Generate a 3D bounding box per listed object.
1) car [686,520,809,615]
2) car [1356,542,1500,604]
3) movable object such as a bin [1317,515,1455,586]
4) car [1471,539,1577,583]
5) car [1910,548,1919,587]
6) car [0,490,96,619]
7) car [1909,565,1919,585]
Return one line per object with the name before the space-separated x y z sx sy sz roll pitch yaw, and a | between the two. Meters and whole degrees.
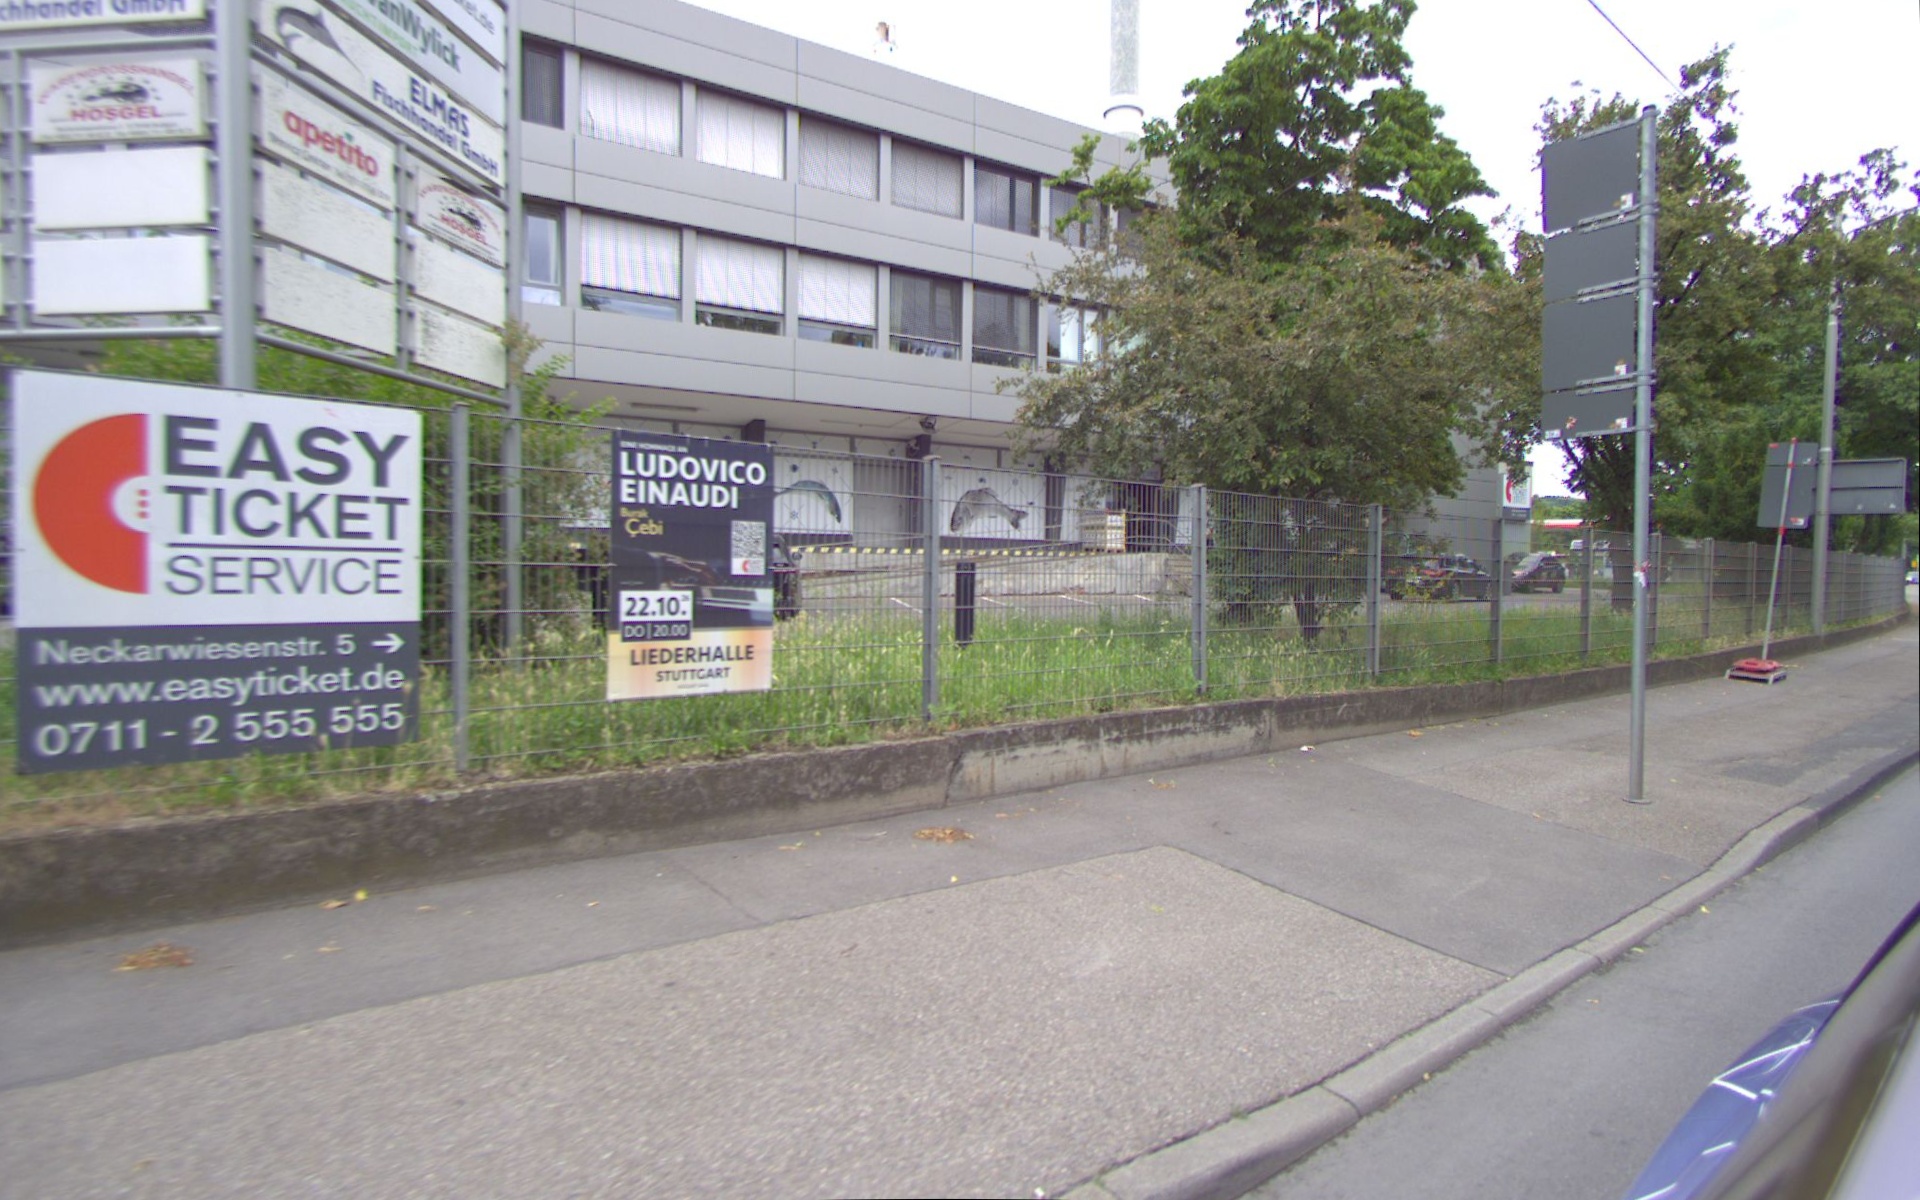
car | -4.024 -0.628 19.214 1.981 1.553 4.872 1 2 -12
car | 12.643 -0.803 27.710 1.964 1.491 4.691 1 4 4
movable object such as a bin | 14.895 -1.742 35.555 1.915 2.333 4.001 -1 3 -35
car | 23.000 -1.573 41.245 4.357 1.585 2.002 0 5 -35
car | 93.040 -3.025 95.972 3.323 3.651 8.553 2 3 38
car | -13.980 -0.671 14.634 1.823 1.694 3.715 0 3 -34
car | 102.954 -2.646 108.093 1.703 2.038 3.840 2 3 36
